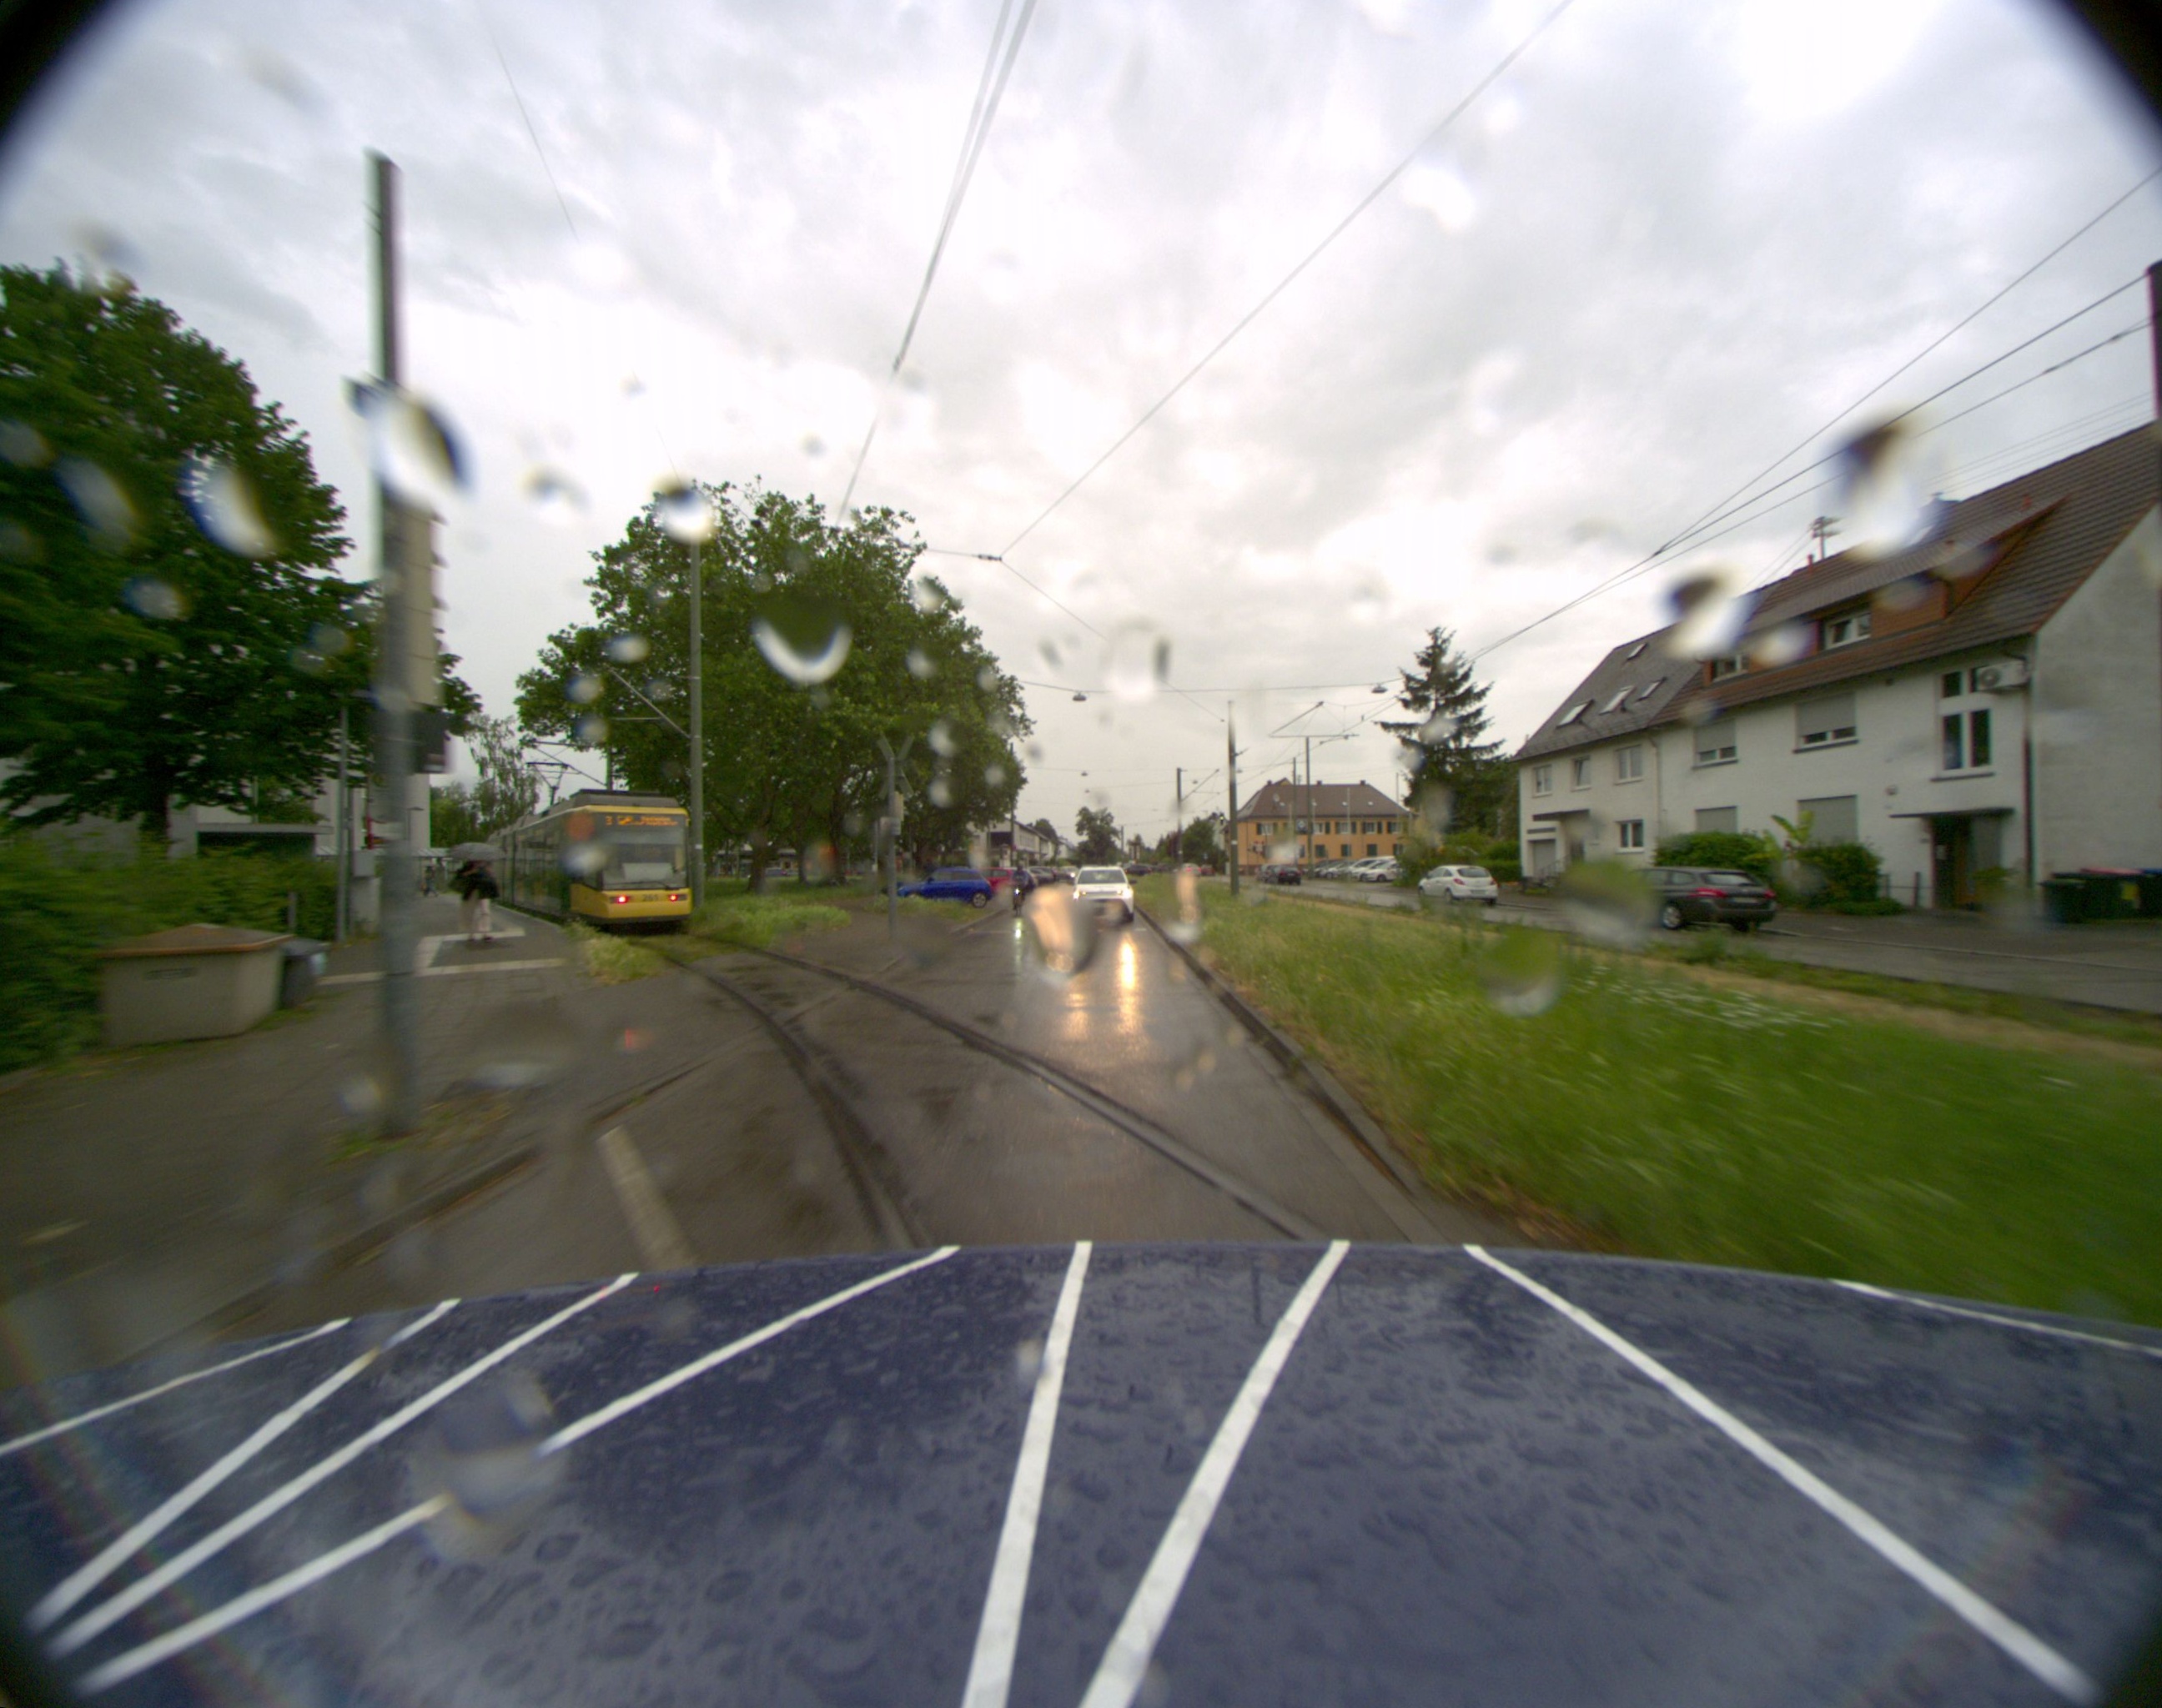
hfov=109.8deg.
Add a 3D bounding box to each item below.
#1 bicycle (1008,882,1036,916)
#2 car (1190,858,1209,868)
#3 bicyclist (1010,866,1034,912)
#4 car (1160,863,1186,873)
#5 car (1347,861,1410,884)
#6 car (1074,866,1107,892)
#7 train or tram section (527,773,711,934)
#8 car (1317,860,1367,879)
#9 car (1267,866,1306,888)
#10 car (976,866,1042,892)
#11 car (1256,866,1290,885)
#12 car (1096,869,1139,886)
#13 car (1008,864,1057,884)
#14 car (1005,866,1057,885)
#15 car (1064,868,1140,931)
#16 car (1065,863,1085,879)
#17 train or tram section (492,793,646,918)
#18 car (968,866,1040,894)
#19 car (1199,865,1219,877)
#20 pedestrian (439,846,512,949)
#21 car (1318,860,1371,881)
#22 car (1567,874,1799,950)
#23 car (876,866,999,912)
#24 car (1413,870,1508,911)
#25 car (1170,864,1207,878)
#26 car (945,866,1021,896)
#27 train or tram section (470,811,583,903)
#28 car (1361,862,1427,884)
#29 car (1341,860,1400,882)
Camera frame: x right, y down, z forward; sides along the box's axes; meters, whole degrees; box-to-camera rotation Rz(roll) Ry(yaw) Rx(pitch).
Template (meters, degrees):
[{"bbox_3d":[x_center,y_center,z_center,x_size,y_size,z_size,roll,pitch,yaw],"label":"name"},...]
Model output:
[{"bbox_3d":[-1.943,1.467,25.239,0.710,1.031,2.099,0,0,1],"label":"bicycle"},{"bbox_3d":[16.178,1.228,103.887,2.096,1.423,4.078,0,0,0],"label":"car"},{"bbox_3d":[-1.944,1.143,25.150,0.710,1.503,0.715,0,0,1],"label":"bicyclist"},{"bbox_3d":[14.861,2.304,122.930,3.997,1.637,1.894,0,0,-2],"label":"car"},{"bbox_3d":[22.281,1.401,57.034,3.996,1.586,1.914,-2,0,3],"label":"car"},{"bbox_3d":[0.561,1.468,45.618,1.853,1.500,4.121,0,0,1],"label":"car"},{"bbox_3d":[-11.706,0.016,18.969,2.763,3.320,6.383,0,0,-42],"label":"train or tram section"},{"bbox_3d":[22.673,1.349,65.879,3.991,1.586,1.916,-2,0,21],"label":"car"},{"bbox_3d":[15.457,1.674,57.325,1.912,1.581,4.001,0,0,2],"label":"car"},{"bbox_3d":[-4.404,1.511,46.417,3.712,1.475,1.616,0,0,-24],"label":"car"},{"bbox_3d":[15.620,1.727,62.005,1.881,1.520,4.001,0,0,2],"label":"car"},{"bbox_3d":[3.830,2.419,79.350,4.127,1.732,1.998,0,0,-13],"label":"car"},{"bbox_3d":[-3.968,1.619,62.027,3.712,1.513,1.616,0,0,-24],"label":"car"},{"bbox_3d":[-3.855,1.623,59.025,3.712,1.407,1.616,0,0,-24],"label":"car"},{"bbox_3d":[0.546,1.160,20.833,1.853,1.500,4.121,0,0,1],"label":"car"},{"bbox_3d":[-0.609,1.590,73.255,1.854,1.500,4.120,0,0,-2],"label":"car"},{"bbox_3d":[-17.100,0.078,24.939,2.763,3.320,10.322,0,0,-42],"label":"train or tram section"},{"bbox_3d":[-4.349,1.448,42.958,3.712,1.475,1.616,0,0,-24],"label":"car"},{"bbox_3d":[15.983,2.127,95.146,1.885,1.423,4.078,0,0,0],"label":"car"},{"bbox_3d":[-10.900,0.750,13.673,1.016,1.764,0.867,0,0,41],"label":"pedestrian"},{"bbox_3d":[21.868,1.376,63.112,3.992,1.586,1.916,-2,0,15],"label":"car"},{"bbox_3d":[14.258,1.296,18.442,1.891,1.522,4.757,0,0,1],"label":"car"},{"bbox_3d":[-5.172,1.222,27.513,4.007,1.518,1.715,0,0,-31],"label":"car"},{"bbox_3d":[14.661,1.386,29.618,1.715,1.431,4.000,0,0,1],"label":"car"},{"bbox_3d":[11.309,1.780,80.431,2.109,1.423,4.271,0,0,-20],"label":"car"},{"bbox_3d":[-5.091,1.365,39.353,3.582,1.451,1.616,0,0,-25],"label":"car"},{"bbox_3d":[-23.779,0.158,32.283,2.763,3.320,10.322,0,0,-42],"label":"train or tram section"},{"bbox_3d":[22.464,1.364,54.640,3.996,1.455,1.914,-2,0,3],"label":"car"},{"bbox_3d":[22.833,1.309,60.022,3.994,1.586,1.915,-2,0,9],"label":"car"}]
